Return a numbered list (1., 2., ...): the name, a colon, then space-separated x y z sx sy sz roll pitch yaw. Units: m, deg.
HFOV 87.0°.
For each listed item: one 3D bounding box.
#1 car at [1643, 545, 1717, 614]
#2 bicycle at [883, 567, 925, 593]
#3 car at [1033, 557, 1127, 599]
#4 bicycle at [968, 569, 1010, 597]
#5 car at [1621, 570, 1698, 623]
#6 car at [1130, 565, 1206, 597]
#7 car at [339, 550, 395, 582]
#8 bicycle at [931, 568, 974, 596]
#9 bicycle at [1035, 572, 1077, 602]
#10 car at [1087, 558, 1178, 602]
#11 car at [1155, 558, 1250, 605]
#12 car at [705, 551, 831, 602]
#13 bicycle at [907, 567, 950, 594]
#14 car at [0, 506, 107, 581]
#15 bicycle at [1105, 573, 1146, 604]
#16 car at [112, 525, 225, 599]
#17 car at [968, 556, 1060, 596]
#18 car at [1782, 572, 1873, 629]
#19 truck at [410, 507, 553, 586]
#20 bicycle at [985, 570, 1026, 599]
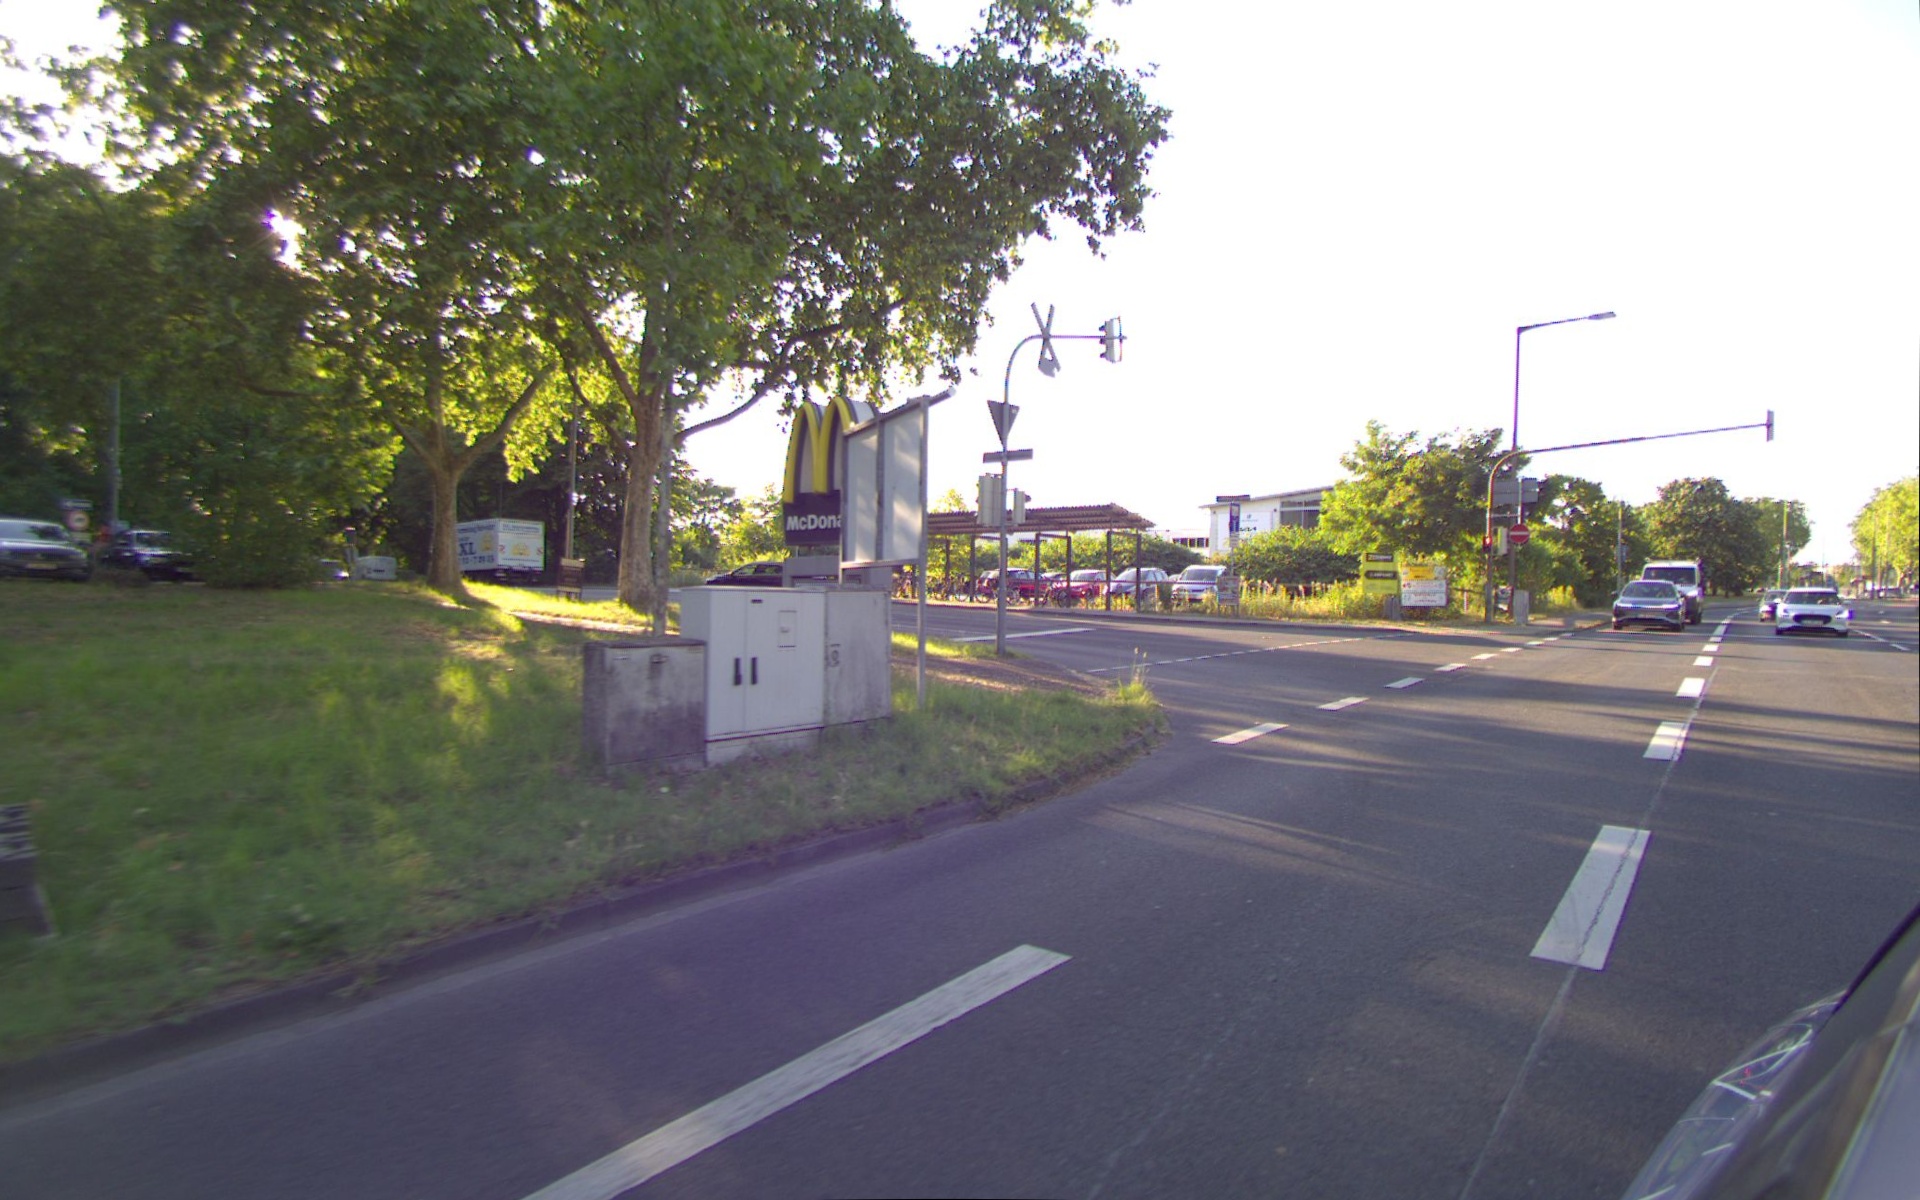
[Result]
1. car: 29.121 -0.823 40.860 2.000 2.597 5.793 3 2 39
2. bicycle: -2.294 -0.827 41.683 0.542 1.051 1.864 3 2 43
3. car: 5.215 -0.937 43.540 2.109 1.669 4.262 3 2 37
4. bicycle: 1.107 -0.649 38.644 0.542 1.051 1.866 2 2 40
5. car: 23.759 -0.139 34.308 1.867 1.638 4.485 3 2 38
6. car: 11.447 -1.037 55.576 3.931 1.657 2.117 0 2 -42
7. car: -38.798 -2.220 66.195 4.847 1.931 1.679 3 2 41
8. bicycle: -0.296 -0.711 39.742 0.542 1.051 1.864 3 2 43
9. bicycle: 3.478 -0.484 36.695 0.542 1.051 1.866 2 2 40
10. car: 7.214 -0.816 41.981 2.109 1.669 3.946 3 2 37
11. car: 9.560 -0.721 39.745 2.109 1.669 4.170 3 2 37
12. car: -6.584 -0.827 34.592 4.233 1.575 1.807 3 2 36
13. bicycle: -1.255 -0.776 40.663 0.542 1.051 1.864 3 2 43
14. car: -21.635 -1.300 23.543 4.382 1.593 2.014 3 2 40
15. bicycle: 5.825 -0.420 35.473 0.542 1.051 1.866 2 2 40
16. car: -20.021 -0.968 25.570 3.490 1.751 1.654 3 2 42
17. car: 2.491 -1.078 45.851 2.109 1.669 4.262 3 2 37
18. car: 27.159 -0.006 31.650 1.871 1.638 3.936 3 2 44
19. truck: -26.552 -2.951 55.789 11.060 3.924 3.146 3 2 42
20. bicycle: 1.735 -0.590 38.211 0.542 1.051 1.866 2 2 40
